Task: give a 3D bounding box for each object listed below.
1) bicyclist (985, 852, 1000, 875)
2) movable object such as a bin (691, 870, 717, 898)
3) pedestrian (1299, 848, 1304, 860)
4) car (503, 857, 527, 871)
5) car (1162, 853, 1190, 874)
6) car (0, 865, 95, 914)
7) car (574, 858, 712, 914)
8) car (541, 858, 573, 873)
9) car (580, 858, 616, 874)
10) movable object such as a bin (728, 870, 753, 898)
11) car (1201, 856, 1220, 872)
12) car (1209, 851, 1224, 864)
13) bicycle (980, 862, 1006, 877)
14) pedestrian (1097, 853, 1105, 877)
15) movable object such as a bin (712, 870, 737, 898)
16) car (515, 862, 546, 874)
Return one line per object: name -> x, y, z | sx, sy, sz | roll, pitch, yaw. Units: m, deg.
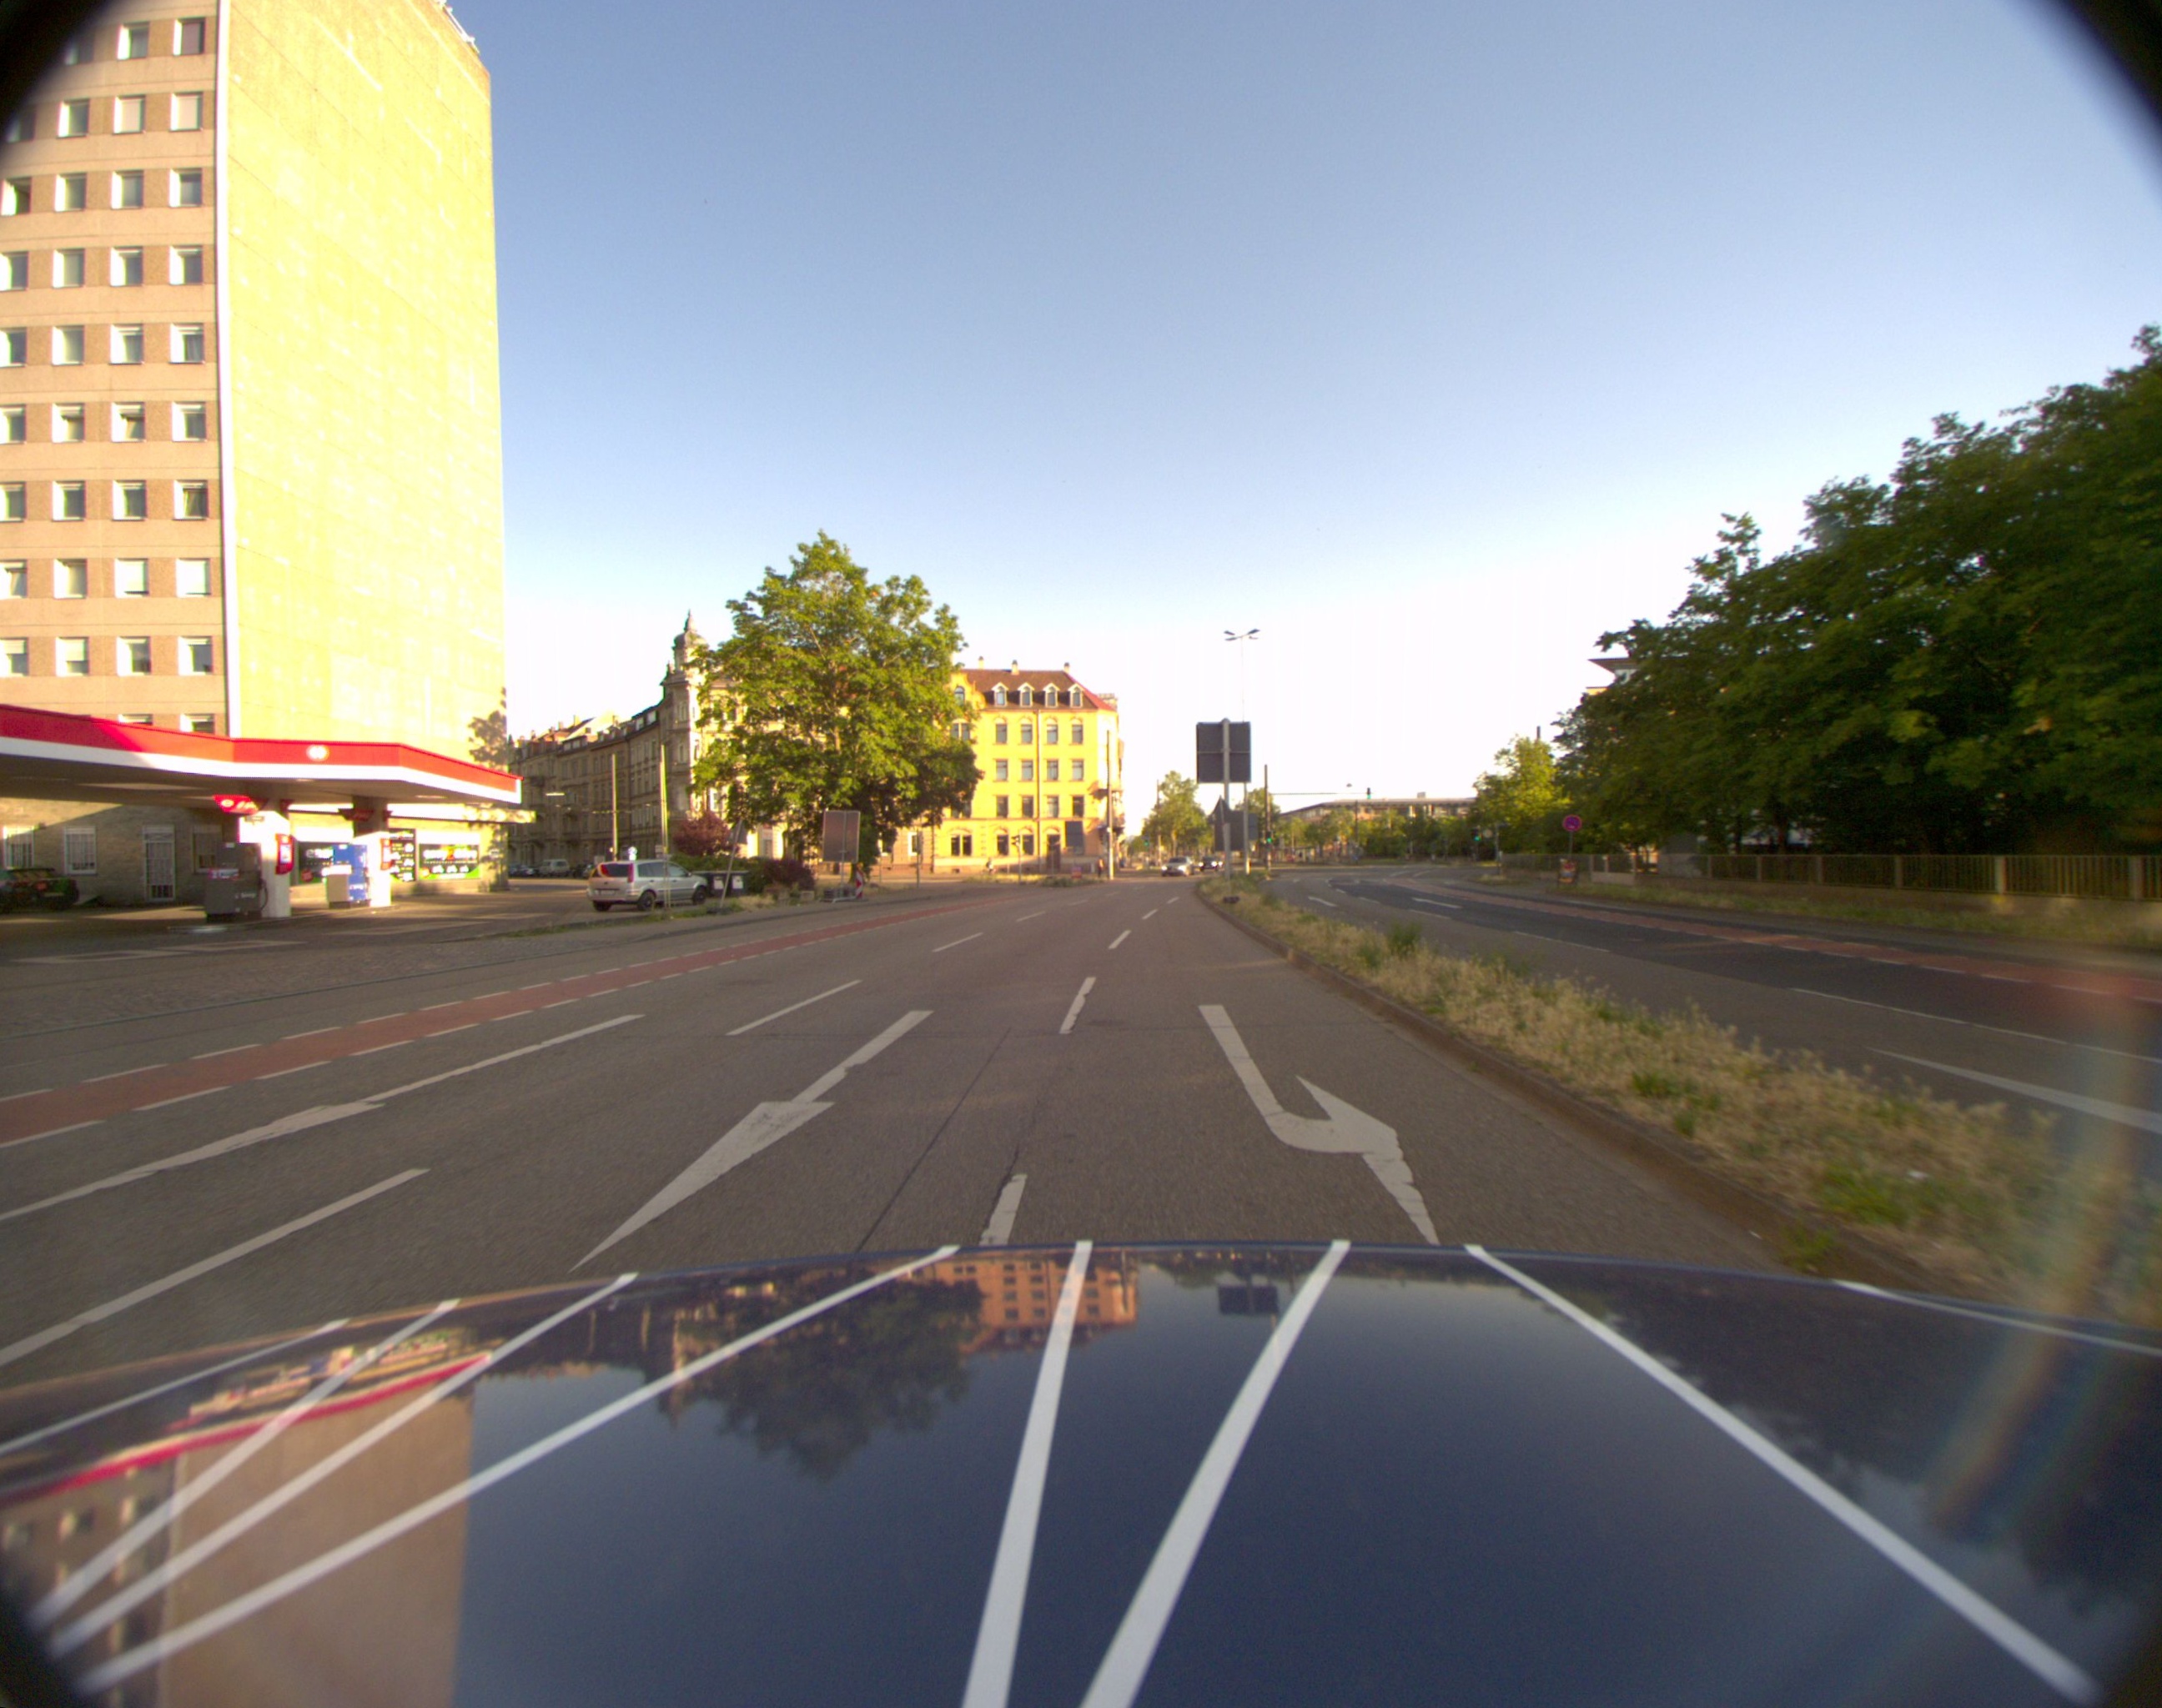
bicyclist -> -6.570, 0.711, 56.258 | 1.065, 1.639, 0.732 | -1, 1, -5
movable object such as a bin -> -14.078, 1.121, 28.370 | 0.544, 1.013, 0.688 | -1, 1, 7
pedestrian -> 36.371, -0.064, 125.206 | 0.556, 2.002, 0.664 | -1, 1, 2
car -> -70.069, 1.271, 94.092 | 3.109, 1.536, 1.682 | -2, 1, 40
car -> 7.040, 0.699, 56.641 | 1.819, 1.440, 4.668 | -2, 0, 4
car -> -35.350, 1.167, 24.865 | 3.793, 1.508, 1.770 | -1, 1, 0
car -> -13.499, 0.940, 23.715 | 1.687, 1.508, 3.798 | -1, 1, 9
car -> -58.949, 1.259, 85.529 | 3.988, 1.677, 2.004 | 0, 0, 41
car -> -48.079, 1.180, 75.580 | 3.988, 1.524, 2.004 | 0, 0, 43
movable object such as a bin -> -12.587, 1.099, 28.103 | 0.544, 1.013, 0.688 | -1, 1, 7
car -> 12.695, 0.938, 74.662 | 1.584, 1.440, 3.874 | -2, 0, 6
car -> 16.320, 0.418, 91.465 | 1.730, 1.440, 4.049 | -2, 0, 11
bicycle -> -6.490, 1.164, 56.196 | 1.927, 1.053, 0.451 | -1, 1, -6
pedestrian -> 1.431, 0.808, 54.098 | 0.500, 1.693, 0.472 | -1, 1, 7
movable object such as a bin -> -13.303, 1.114, 28.328 | 0.544, 1.013, 0.688 | -1, 1, 7
car -> -66.128, 1.636, 91.317 | 3.988, 1.356, 2.004 | -1, 0, 39
